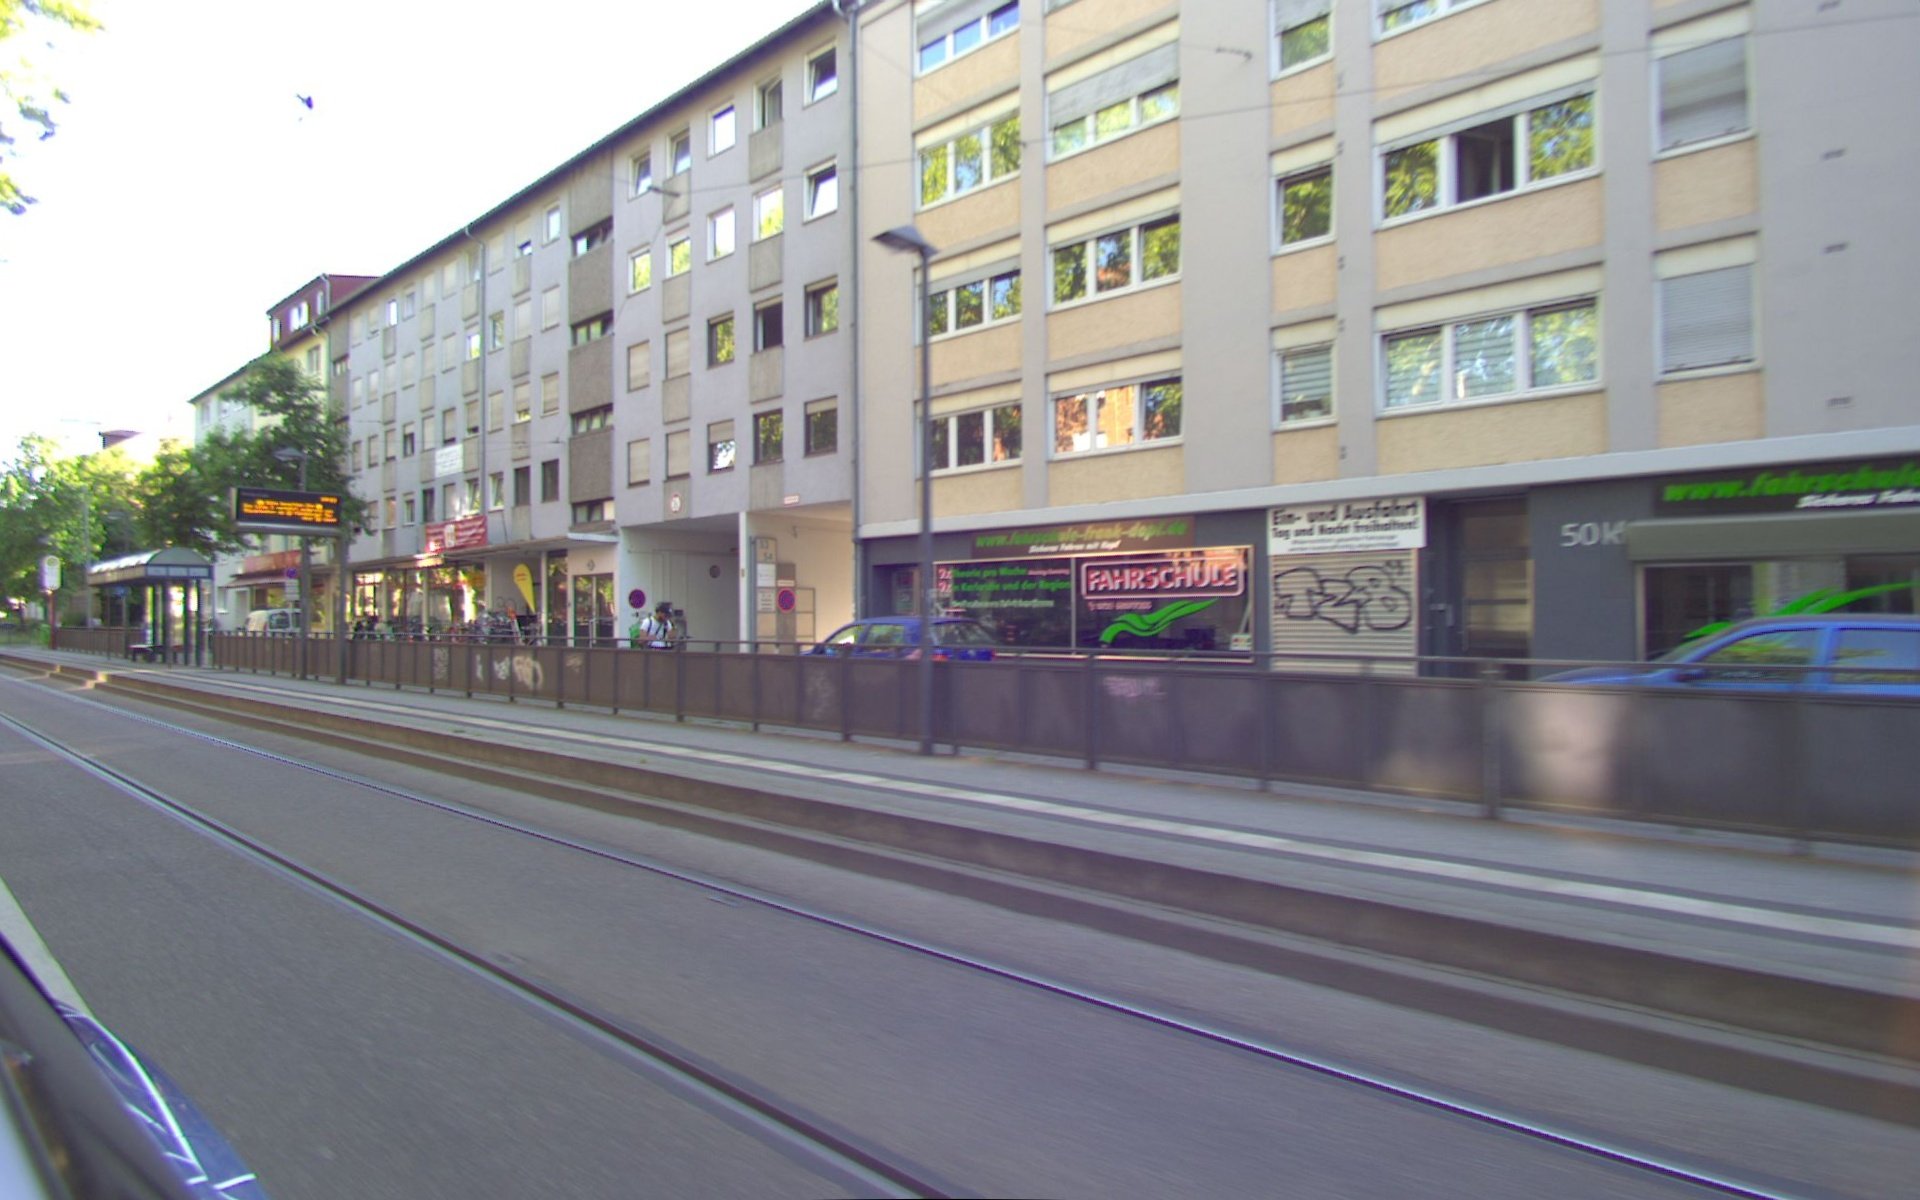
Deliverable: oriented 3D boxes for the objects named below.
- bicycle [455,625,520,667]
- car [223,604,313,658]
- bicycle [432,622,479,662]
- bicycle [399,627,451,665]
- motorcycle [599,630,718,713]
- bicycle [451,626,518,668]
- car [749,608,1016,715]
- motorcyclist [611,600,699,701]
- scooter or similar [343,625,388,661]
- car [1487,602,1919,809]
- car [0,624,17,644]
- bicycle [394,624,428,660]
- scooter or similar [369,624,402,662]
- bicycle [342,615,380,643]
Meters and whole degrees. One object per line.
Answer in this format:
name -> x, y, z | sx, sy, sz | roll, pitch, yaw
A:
bicycle -> -13.589, 1.312, 29.083 | 2.019, 1.165, 0.556 | -1, -2, 26
car -> -26.258, 1.159, 38.349 | 4.046, 1.949, 1.785 | -1, -2, 40
bicycle -> -15.209, 1.264, 30.503 | 1.748, 1.165, 0.488 | -1, -2, 36
bicycle -> -16.747, 1.426, 31.667 | 2.033, 1.165, 0.565 | -1, -2, 36
motorcycle -> -4.574, 1.043, 15.301 | 1.914, 1.173, 0.840 | -1, -2, 41
bicycle -> -13.469, 1.312, 28.654 | 2.019, 1.165, 0.556 | -1, -2, 26
car -> -1.323, 0.911, 16.132 | 4.280, 1.475, 1.776 | -1, -2, 41
motorcyclist -> -4.624, 0.746, 15.334 | 1.015, 1.451, 0.864 | -1, -2, 40
scooter or similar -> -19.590, 1.402, 33.361 | 1.259, 1.183, 0.445 | 0, -2, 5
car -> 7.262, 0.829, 8.842 | 4.387, 1.556, 1.935 | -1, -2, 41
car -> -75.888, 2.686, 79.807 | 3.679, 1.541, 1.971 | -2, -2, 44
bicycle -> -18.297, 1.390, 33.699 | 1.688, 1.165, 0.506 | -2, -2, 44
scooter or similar -> -18.512, 1.379, 32.595 | 1.272, 1.183, 0.440 | -1, -2, 36
bicycle -> -24.878, 1.205, 42.036 | 2.033, 1.165, 0.565 | -1, -2, 36
